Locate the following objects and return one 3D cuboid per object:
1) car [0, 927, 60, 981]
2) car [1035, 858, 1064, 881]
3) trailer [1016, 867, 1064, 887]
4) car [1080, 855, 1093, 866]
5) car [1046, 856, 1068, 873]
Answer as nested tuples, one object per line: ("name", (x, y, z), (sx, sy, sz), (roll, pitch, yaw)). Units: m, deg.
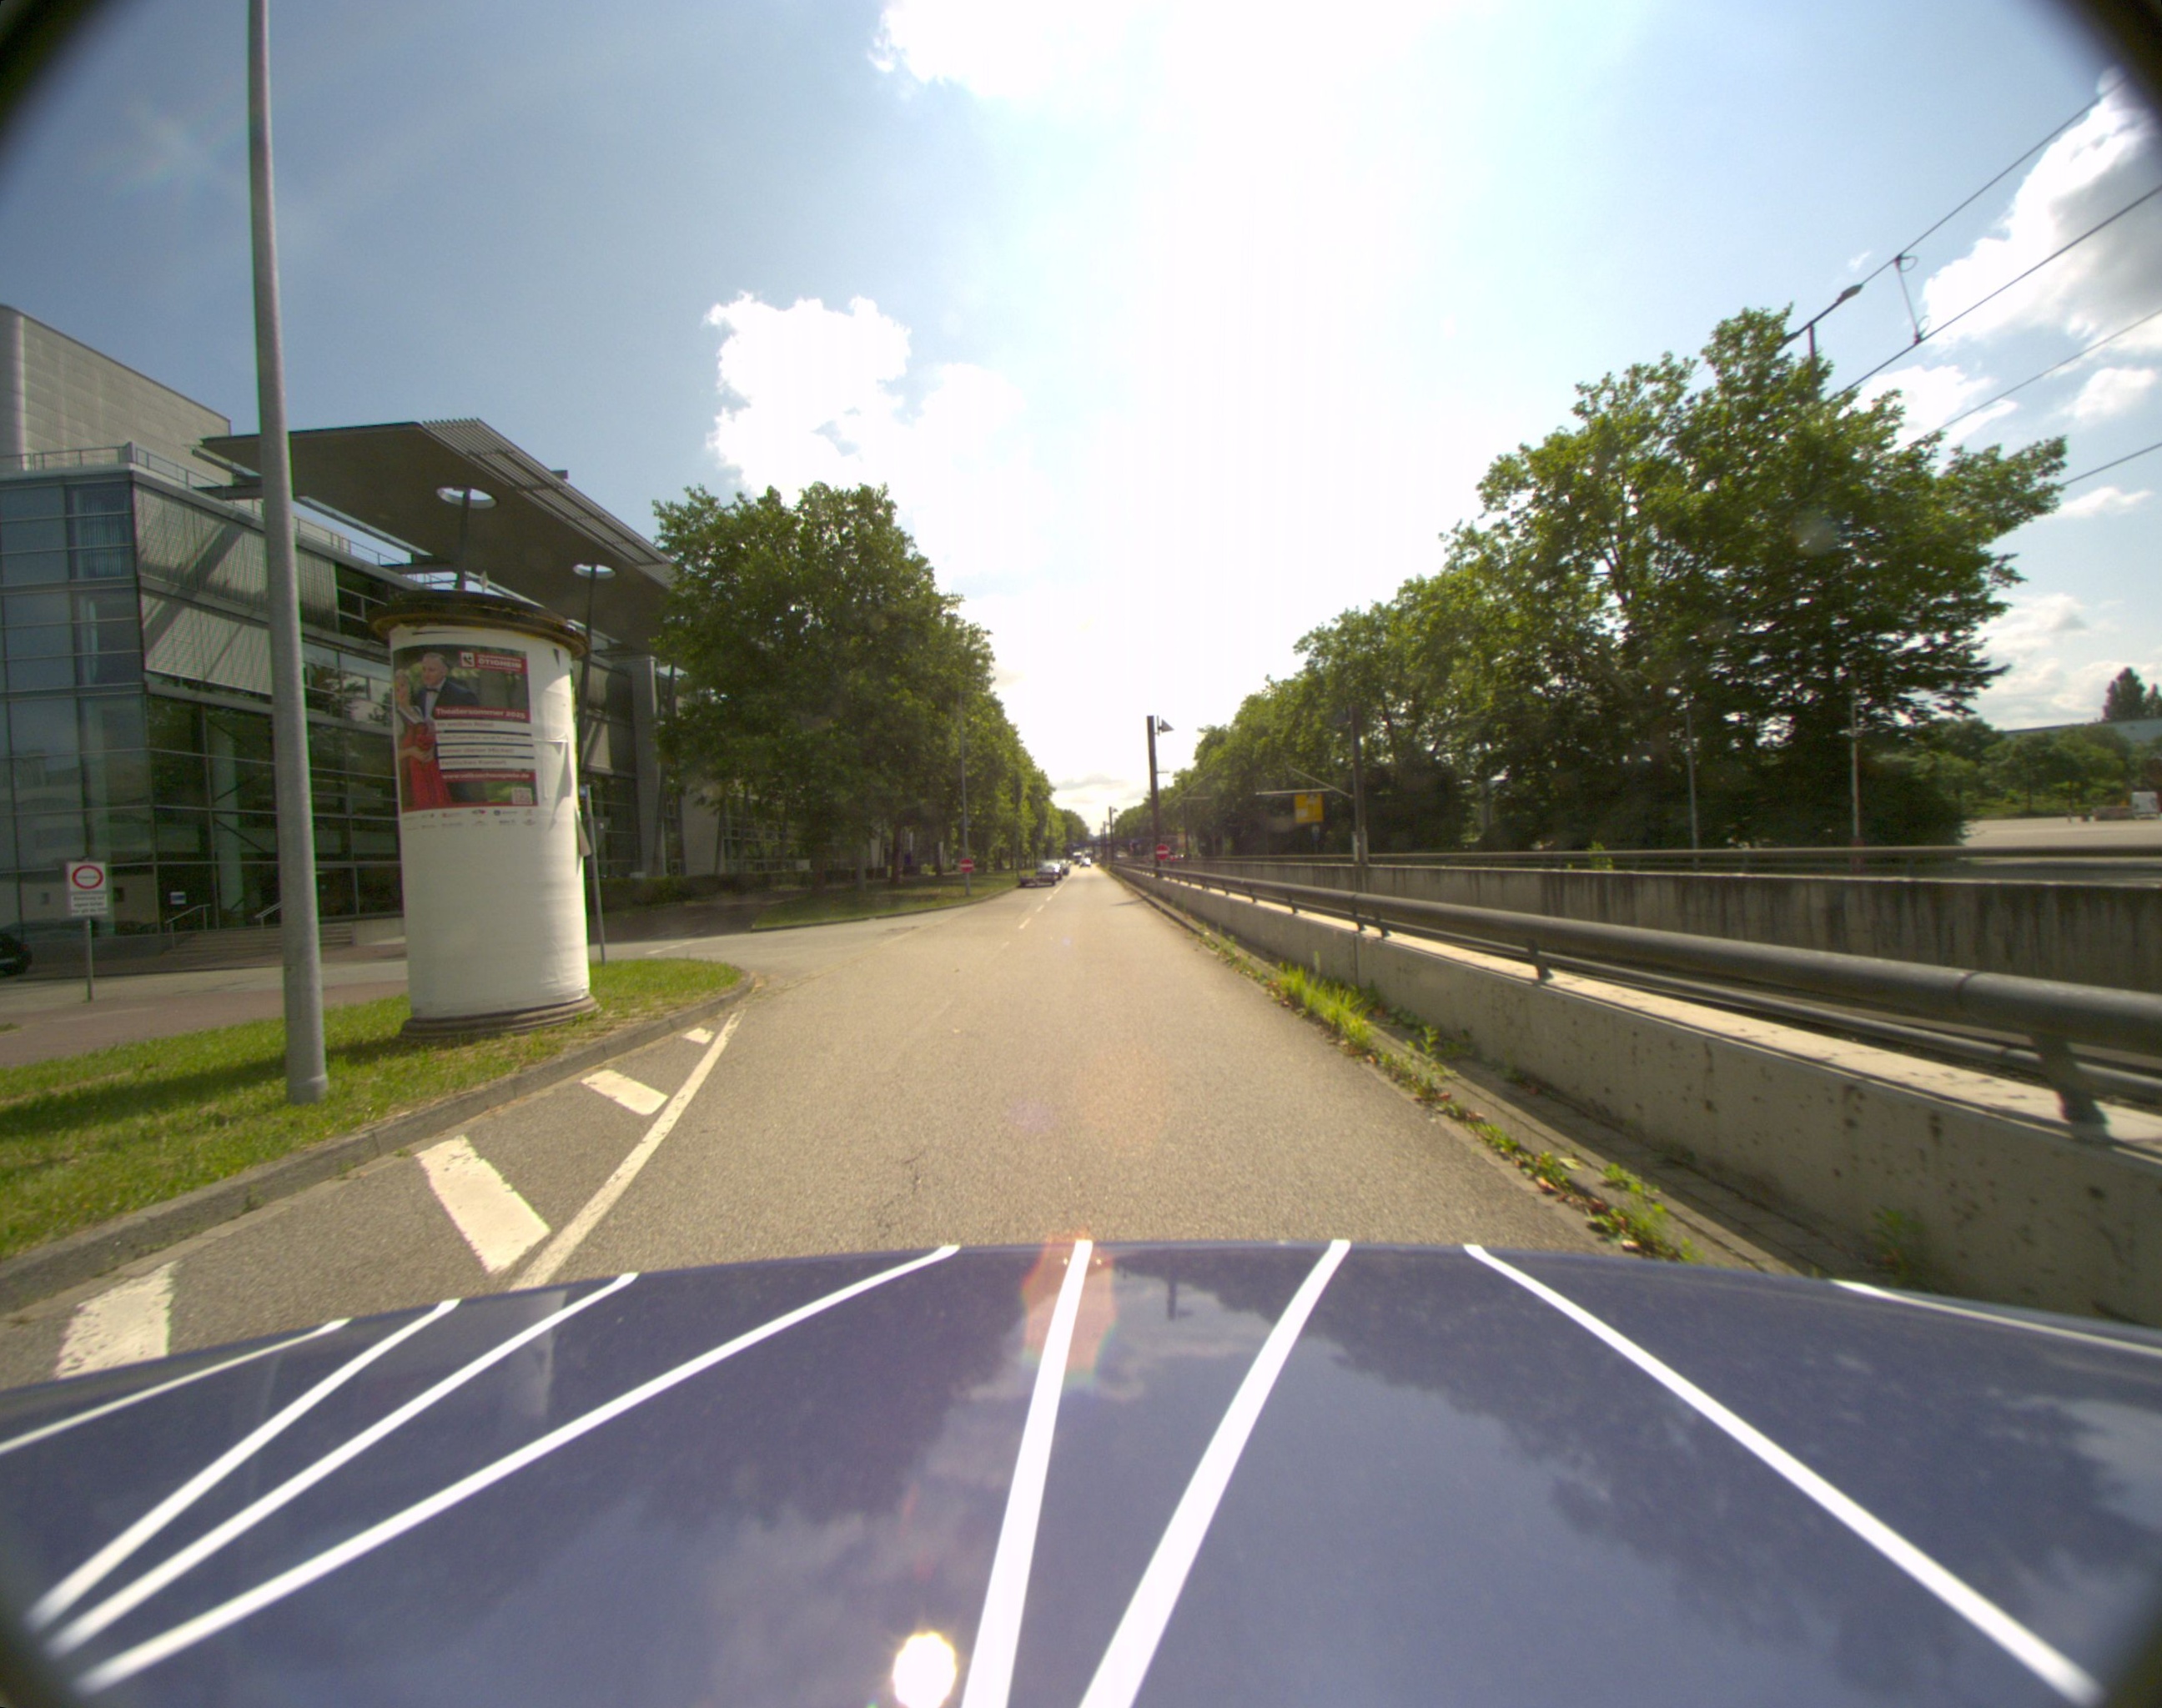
("car", (-34.389, 3.189, 23.179), (3.996, 1.411, 1.817), (-3, 4, 3))
("car", (-2.313, 1.139, 56.967), (1.809, 1.496, 3.734), (-3, 1, 1))
("trailer", (-2.336, 1.344, 45.438), (2.303, 0.823, 6.820), (-3, 0, 1))
("car", (0.980, 1.072, 128.539), (1.998, 1.711, 4.304), (-2, 1, 1))
("car", (-2.266, 0.970, 73.259), (1.809, 1.496, 3.734), (-3, 1, 1))
